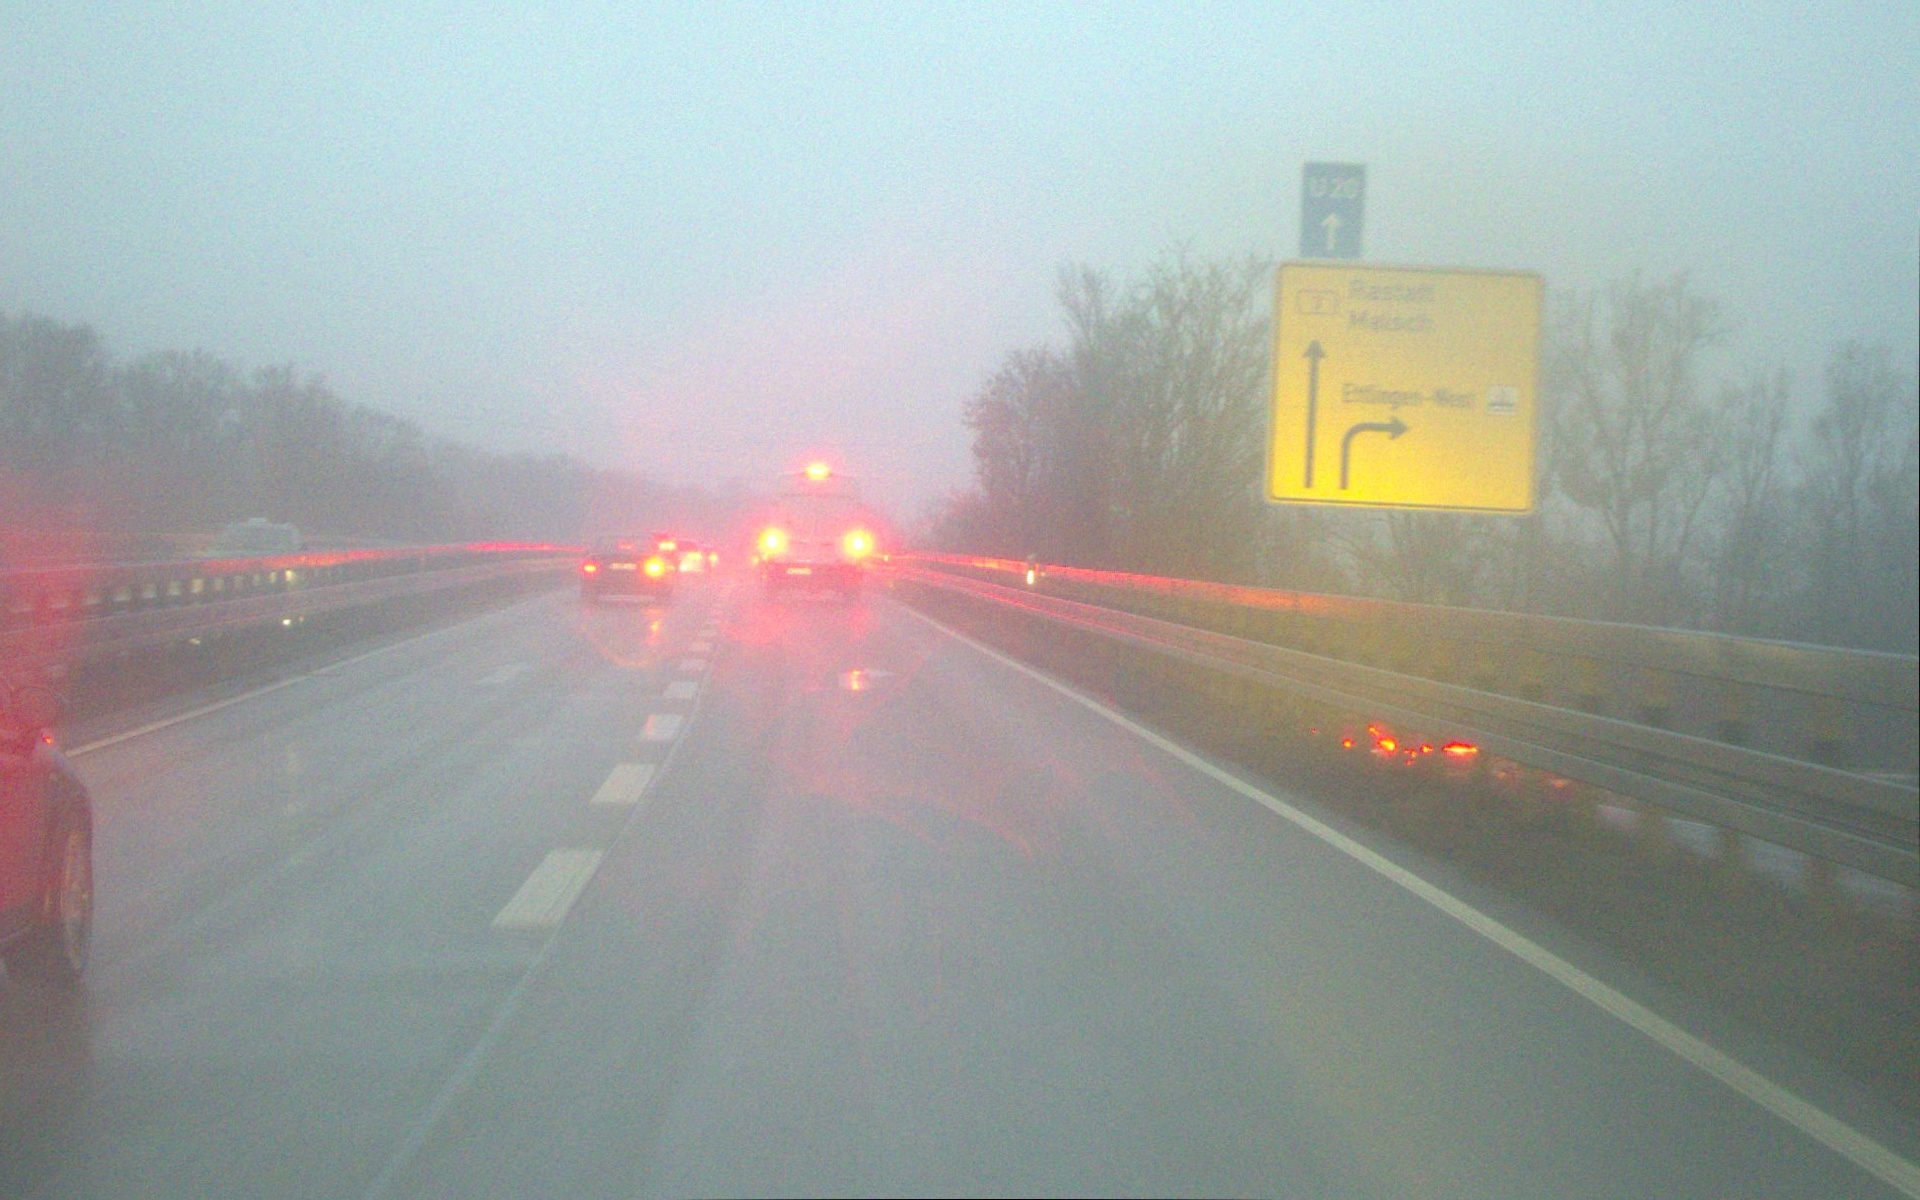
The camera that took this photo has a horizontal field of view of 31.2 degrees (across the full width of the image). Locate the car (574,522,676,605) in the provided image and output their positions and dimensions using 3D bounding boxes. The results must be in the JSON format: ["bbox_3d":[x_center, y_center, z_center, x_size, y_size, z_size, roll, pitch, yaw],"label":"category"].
[{"bbox_3d":[-6.753,-0.715,69.621,1.834,1.532,4.000,2,-1,-3],"label":"car"}]

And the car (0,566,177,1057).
[{"bbox_3d":[-3.591,0.602,10.577,1.625,1.387,4.001,0,1,-3],"label":"car"}]

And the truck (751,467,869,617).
[{"bbox_3d":[-3.227,-1.183,73.378,2.382,2.899,4.674,1,-3,-3],"label":"truck"}]
